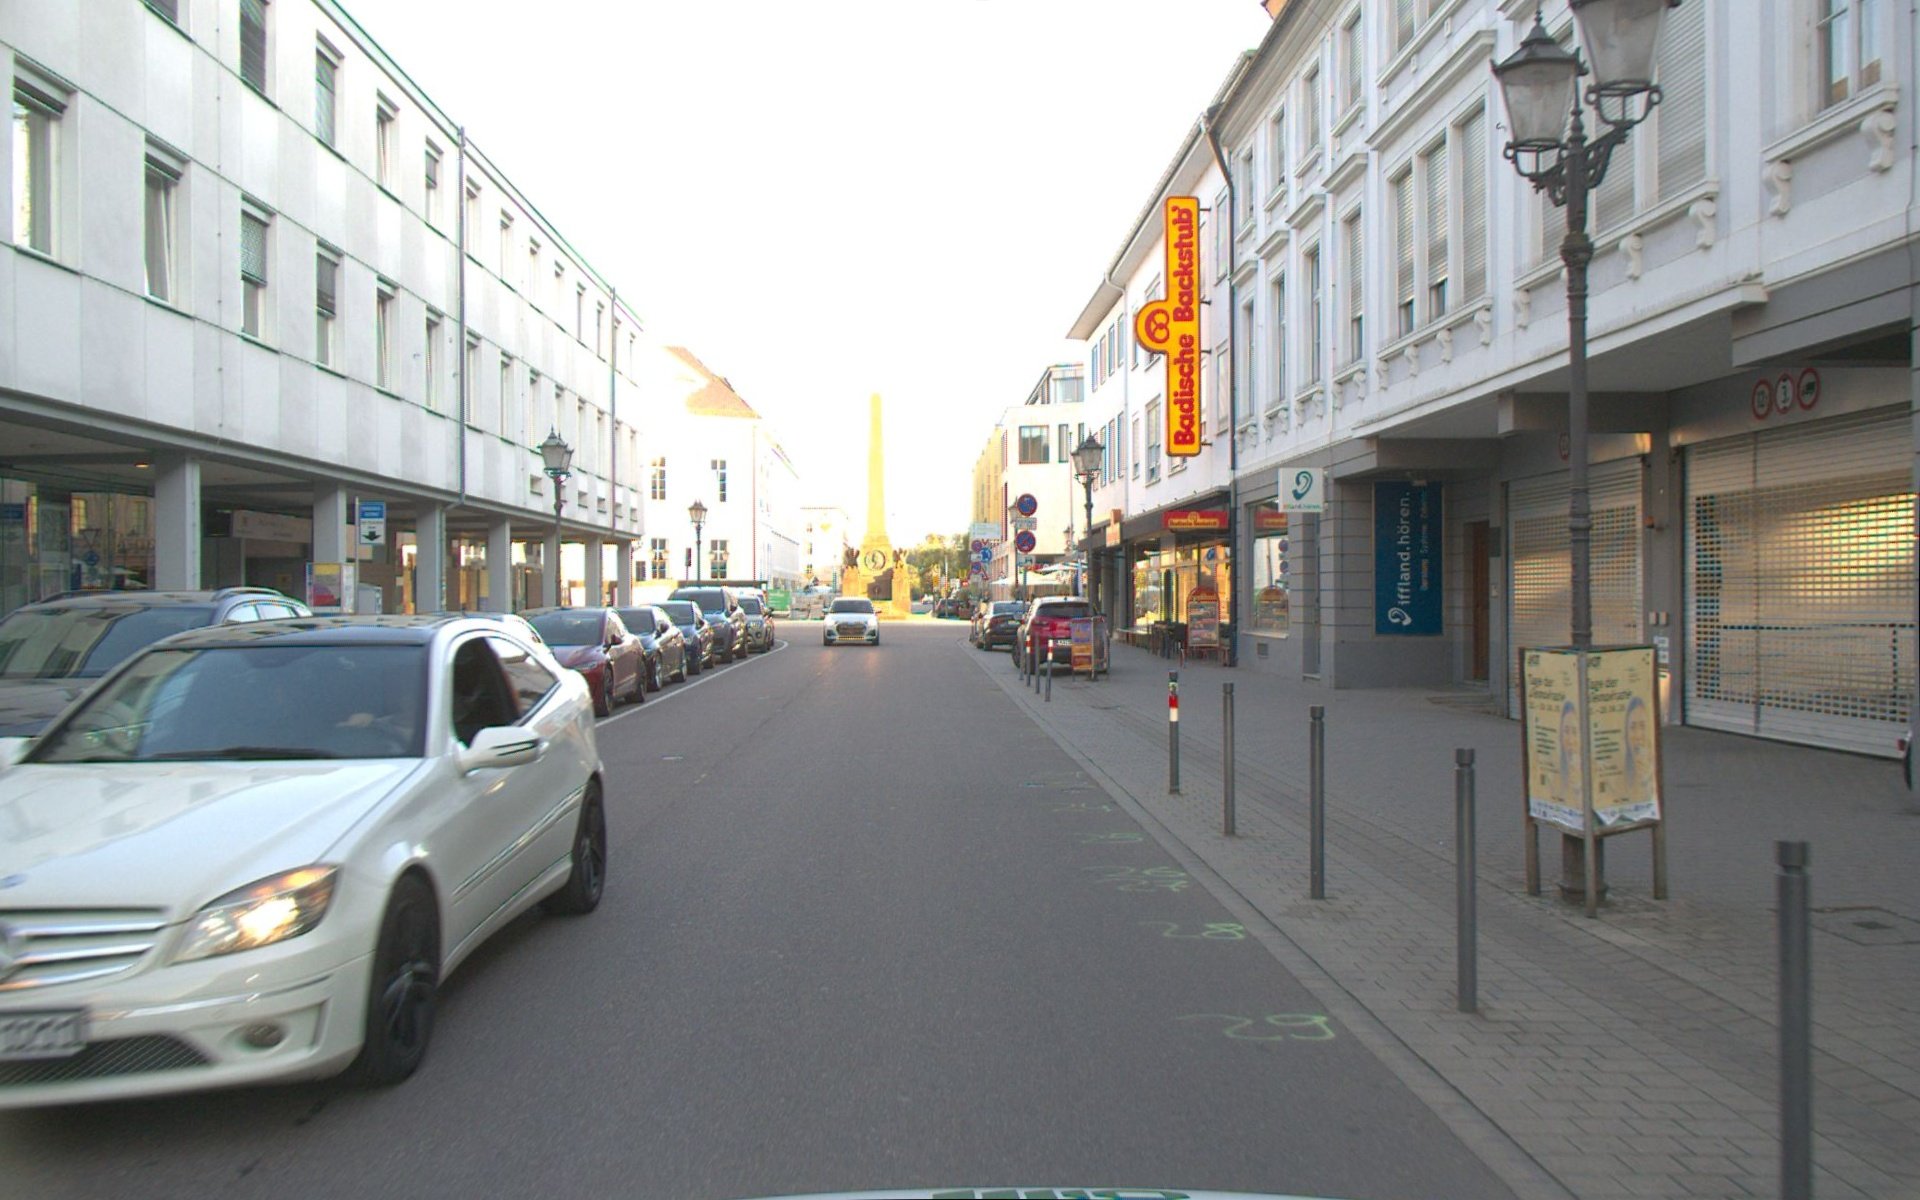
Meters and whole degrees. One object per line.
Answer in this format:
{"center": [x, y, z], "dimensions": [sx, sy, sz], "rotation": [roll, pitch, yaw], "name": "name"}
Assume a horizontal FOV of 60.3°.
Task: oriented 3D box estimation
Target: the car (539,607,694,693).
{"center": [-5.909, 0.822, 28.910], "dimensions": [1.953, 1.378, 3.999], "rotation": [0, 0, -2], "name": "car"}

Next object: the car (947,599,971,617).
{"center": [-0.101, 0.687, 138.385], "dimensions": [1.953, 1.489, 4.000], "rotation": [0, 0, 0], "name": "car"}

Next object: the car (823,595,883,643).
{"center": [-3.368, 0.579, 52.513], "dimensions": [1.728, 1.447, 3.999], "rotation": [0, 0, -1], "name": "car"}

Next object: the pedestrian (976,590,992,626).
{"center": [1.127, 0.351, 77.666], "dimensions": [0.676, 1.676, 0.695], "rotation": [-1, 0, -3], "name": "pedestrian"}

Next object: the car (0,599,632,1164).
{"center": [-2.506, 0.724, 6.284], "dimensions": [1.749, 1.433, 4.087], "rotation": [-1, 0, -1], "name": "car"}

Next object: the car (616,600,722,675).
{"center": [-6.011, 0.740, 34.495], "dimensions": [1.639, 1.424, 3.998], "rotation": [-1, 0, -3], "name": "car"}

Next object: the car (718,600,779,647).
{"center": [-6.461, 0.684, 50.900], "dimensions": [1.645, 1.377, 4.102], "rotation": [0, 0, -4], "name": "car"}

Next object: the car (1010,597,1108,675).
{"center": [2.010, 0.707, 34.448], "dimensions": [1.724, 1.550, 3.676], "rotation": [0, 0, -1], "name": "car"}

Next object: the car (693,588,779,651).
{"center": [-6.257, 0.523, 46.549], "dimensions": [1.953, 1.691, 3.999], "rotation": [0, 0, -2], "name": "car"}

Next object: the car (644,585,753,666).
{"center": [-6.186, 0.567, 39.636], "dimensions": [1.953, 1.758, 4.514], "rotation": [-2, 0, -1], "name": "car"}

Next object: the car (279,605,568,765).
{"center": [-5.442, 0.790, 17.339], "dimensions": [1.749, 1.433, 4.087], "rotation": [-1, 0, -1], "name": "car"}

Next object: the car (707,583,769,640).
{"center": [-7.531, 0.372, 55.820], "dimensions": [1.956, 1.847, 4.774], "rotation": [0, 0, -9], "name": "car"}

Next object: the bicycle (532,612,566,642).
{"center": [-14.454, 0.930, 58.172], "dimensions": [0.718, 1.001, 2.334], "rotation": [0, 0, -3], "name": "bicycle"}

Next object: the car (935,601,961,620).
{"center": [-0.939, 0.831, 129.885], "dimensions": [1.953, 1.489, 4.000], "rotation": [0, 0, 0], "name": "car"}

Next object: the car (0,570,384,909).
{"center": [-5.105, 0.681, 10.110], "dimensions": [1.749, 1.643, 4.165], "rotation": [-1, 0, -1], "name": "car"}

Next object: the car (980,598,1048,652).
{"center": [1.540, 0.694, 48.285], "dimensions": [1.765, 1.489, 4.116], "rotation": [0, 0, -1], "name": "car"}

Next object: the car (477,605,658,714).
{"center": [-5.694, 0.814, 24.452], "dimensions": [1.749, 1.433, 4.087], "rotation": [-1, 0, -1], "name": "car"}
